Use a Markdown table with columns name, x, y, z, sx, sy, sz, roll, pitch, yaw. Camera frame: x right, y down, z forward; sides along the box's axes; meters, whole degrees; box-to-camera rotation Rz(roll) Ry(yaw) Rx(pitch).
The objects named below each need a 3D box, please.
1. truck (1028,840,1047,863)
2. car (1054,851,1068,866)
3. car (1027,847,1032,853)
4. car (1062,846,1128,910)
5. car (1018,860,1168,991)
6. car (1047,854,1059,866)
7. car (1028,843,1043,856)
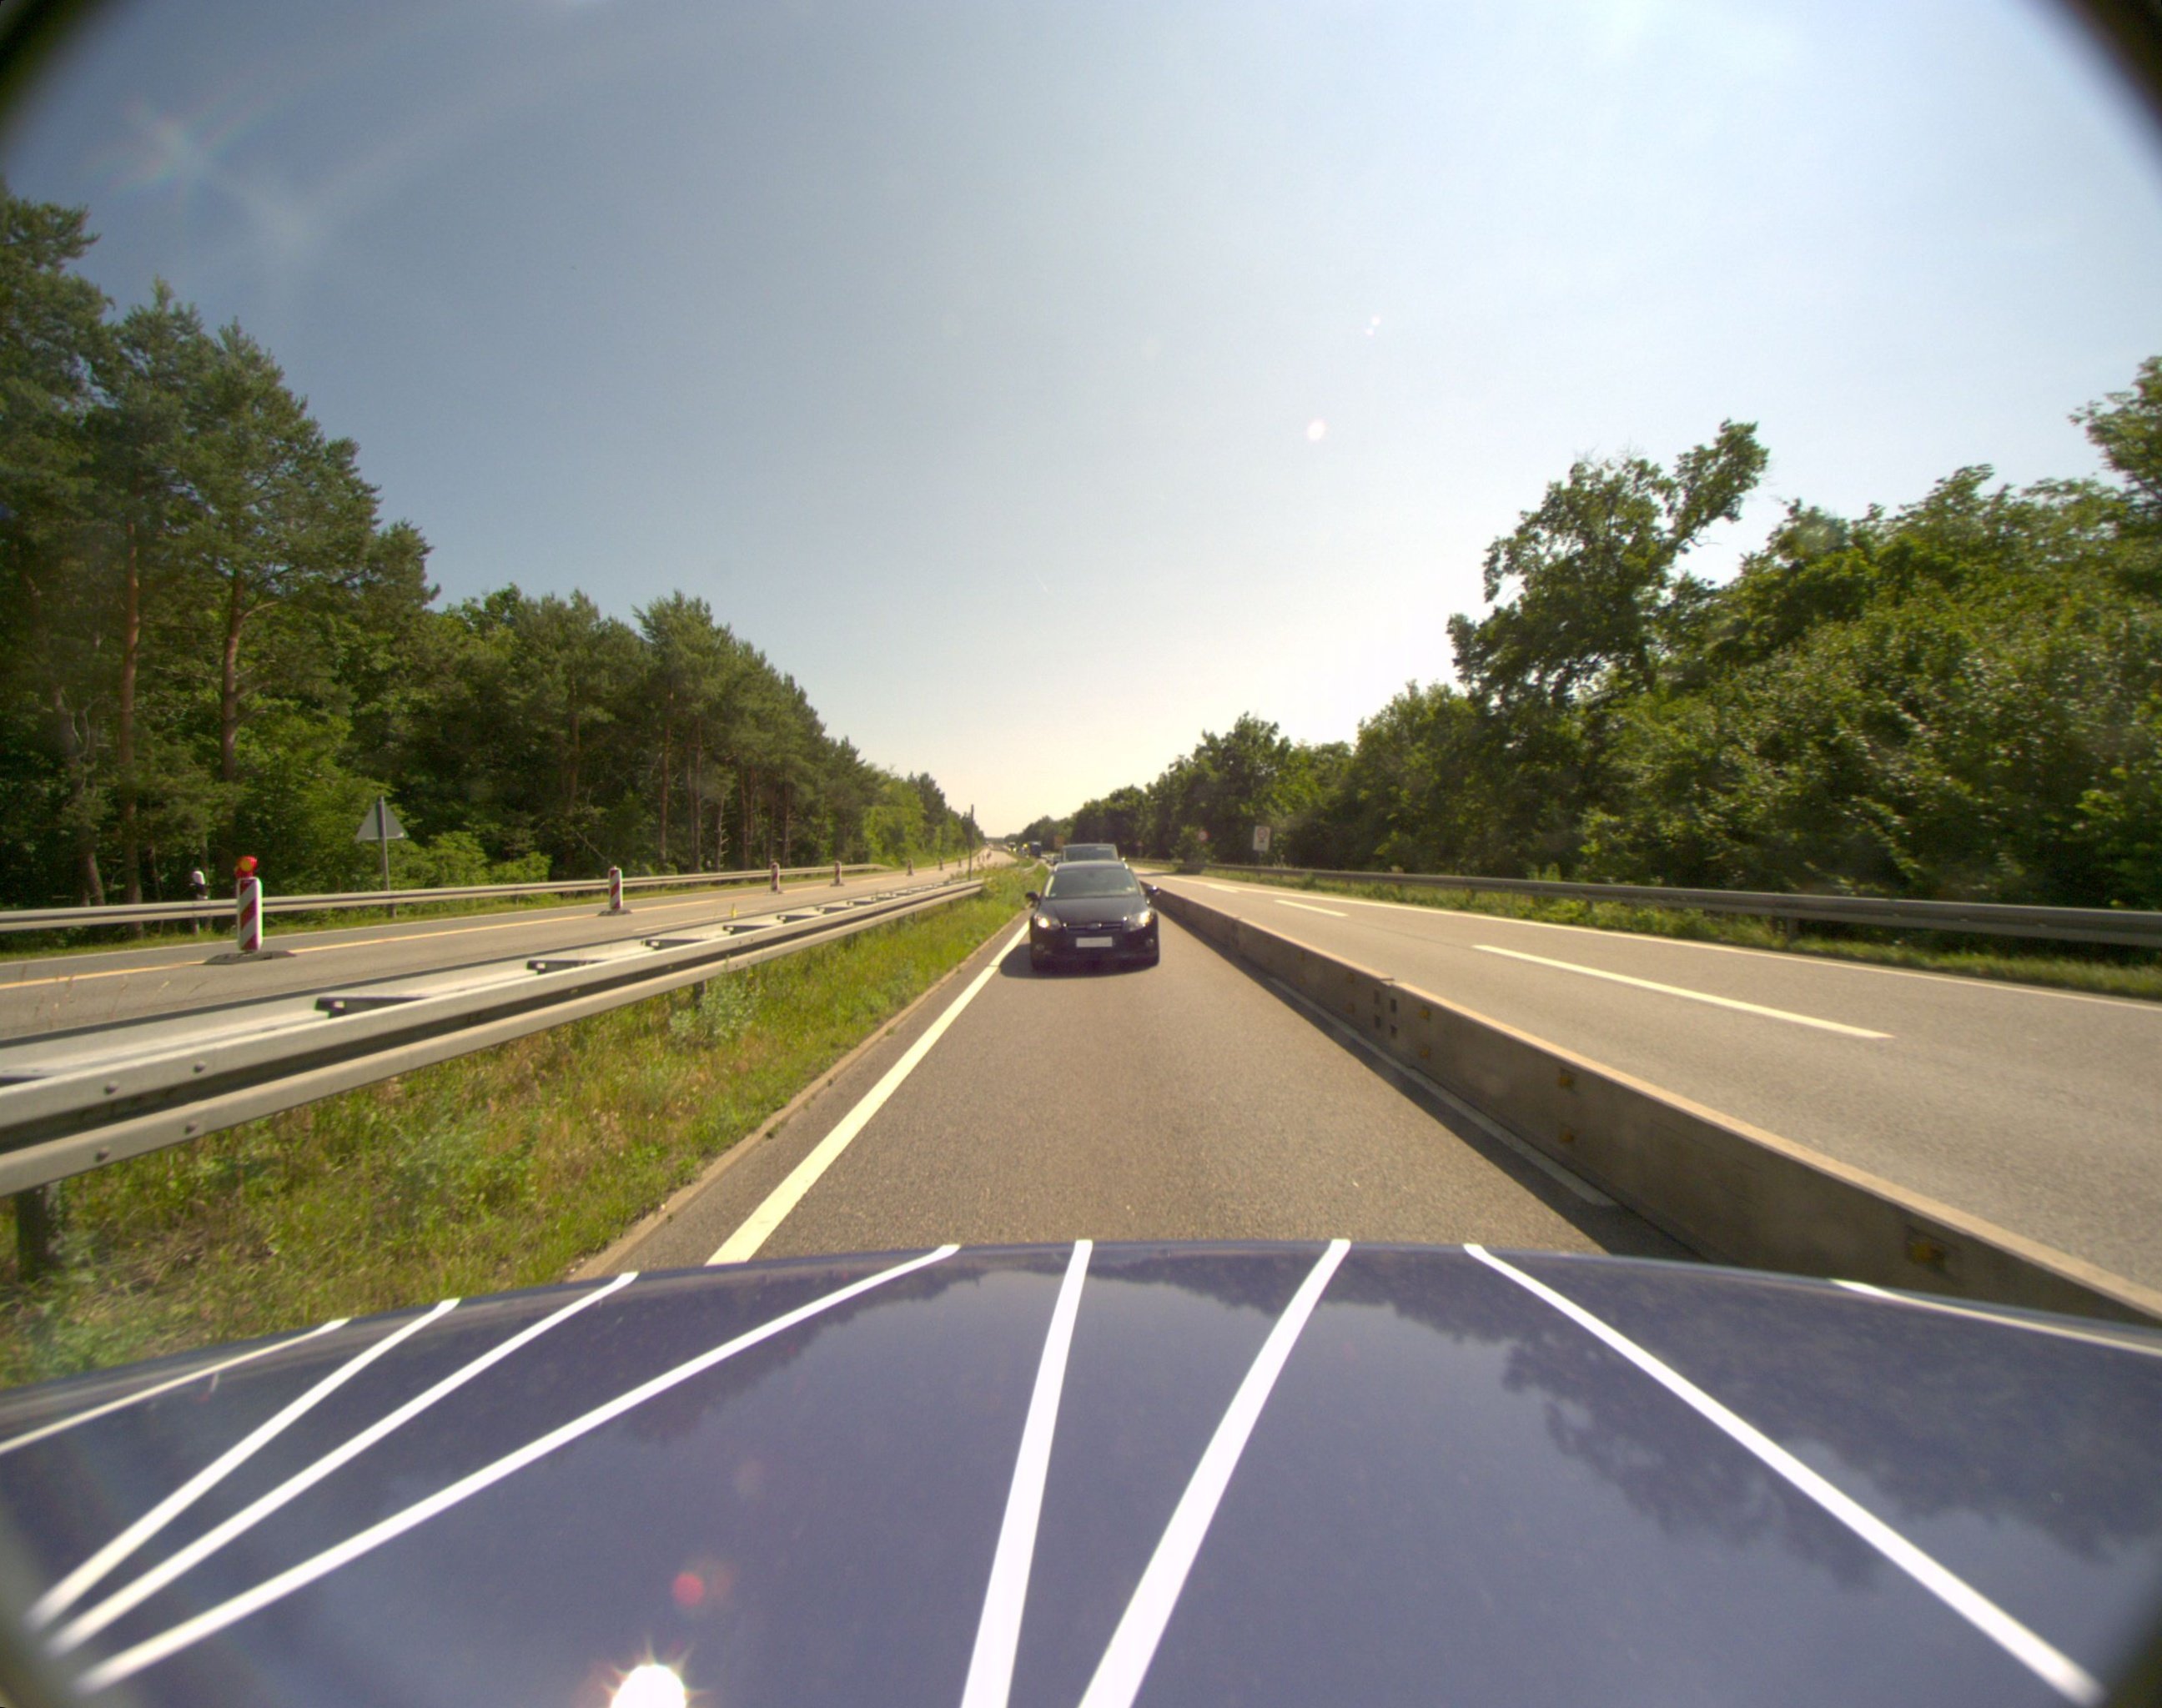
| name | x | y | z | sx | sy | sz | roll | pitch | yaw |
| --- | --- | --- | --- | --- | --- | --- | --- | --- | --- |
| truck | -10.723 | -0.629 | 185.773 | 3.831 | 5.266 | 11.239 | -1 | 0 | -6 |
| car | -2.241 | 0.513 | 86.401 | 1.527 | 1.647 | 3.980 | -1 | 0 | -1 |
| car | -15.678 | -1.140 | 231.510 | 1.527 | 1.647 | 3.980 | -1 | 0 | -1 |
| car | 0.364 | 0.717 | 25.332 | 1.960 | 1.901 | 4.934 | -1 | 0 | -2 |
| car | 0.124 | 0.929 | 12.117 | 1.847 | 1.537 | 4.935 | -2 | 0 | -1 |
| car | -3.913 | 0.882 | 106.633 | 1.527 | 1.647 | 3.980 | -1 | 0 | -1 |
| car | -6.477 | -0.613 | 108.264 | 1.999 | 1.773 | 4.000 | -1 | 0 | -1 |
